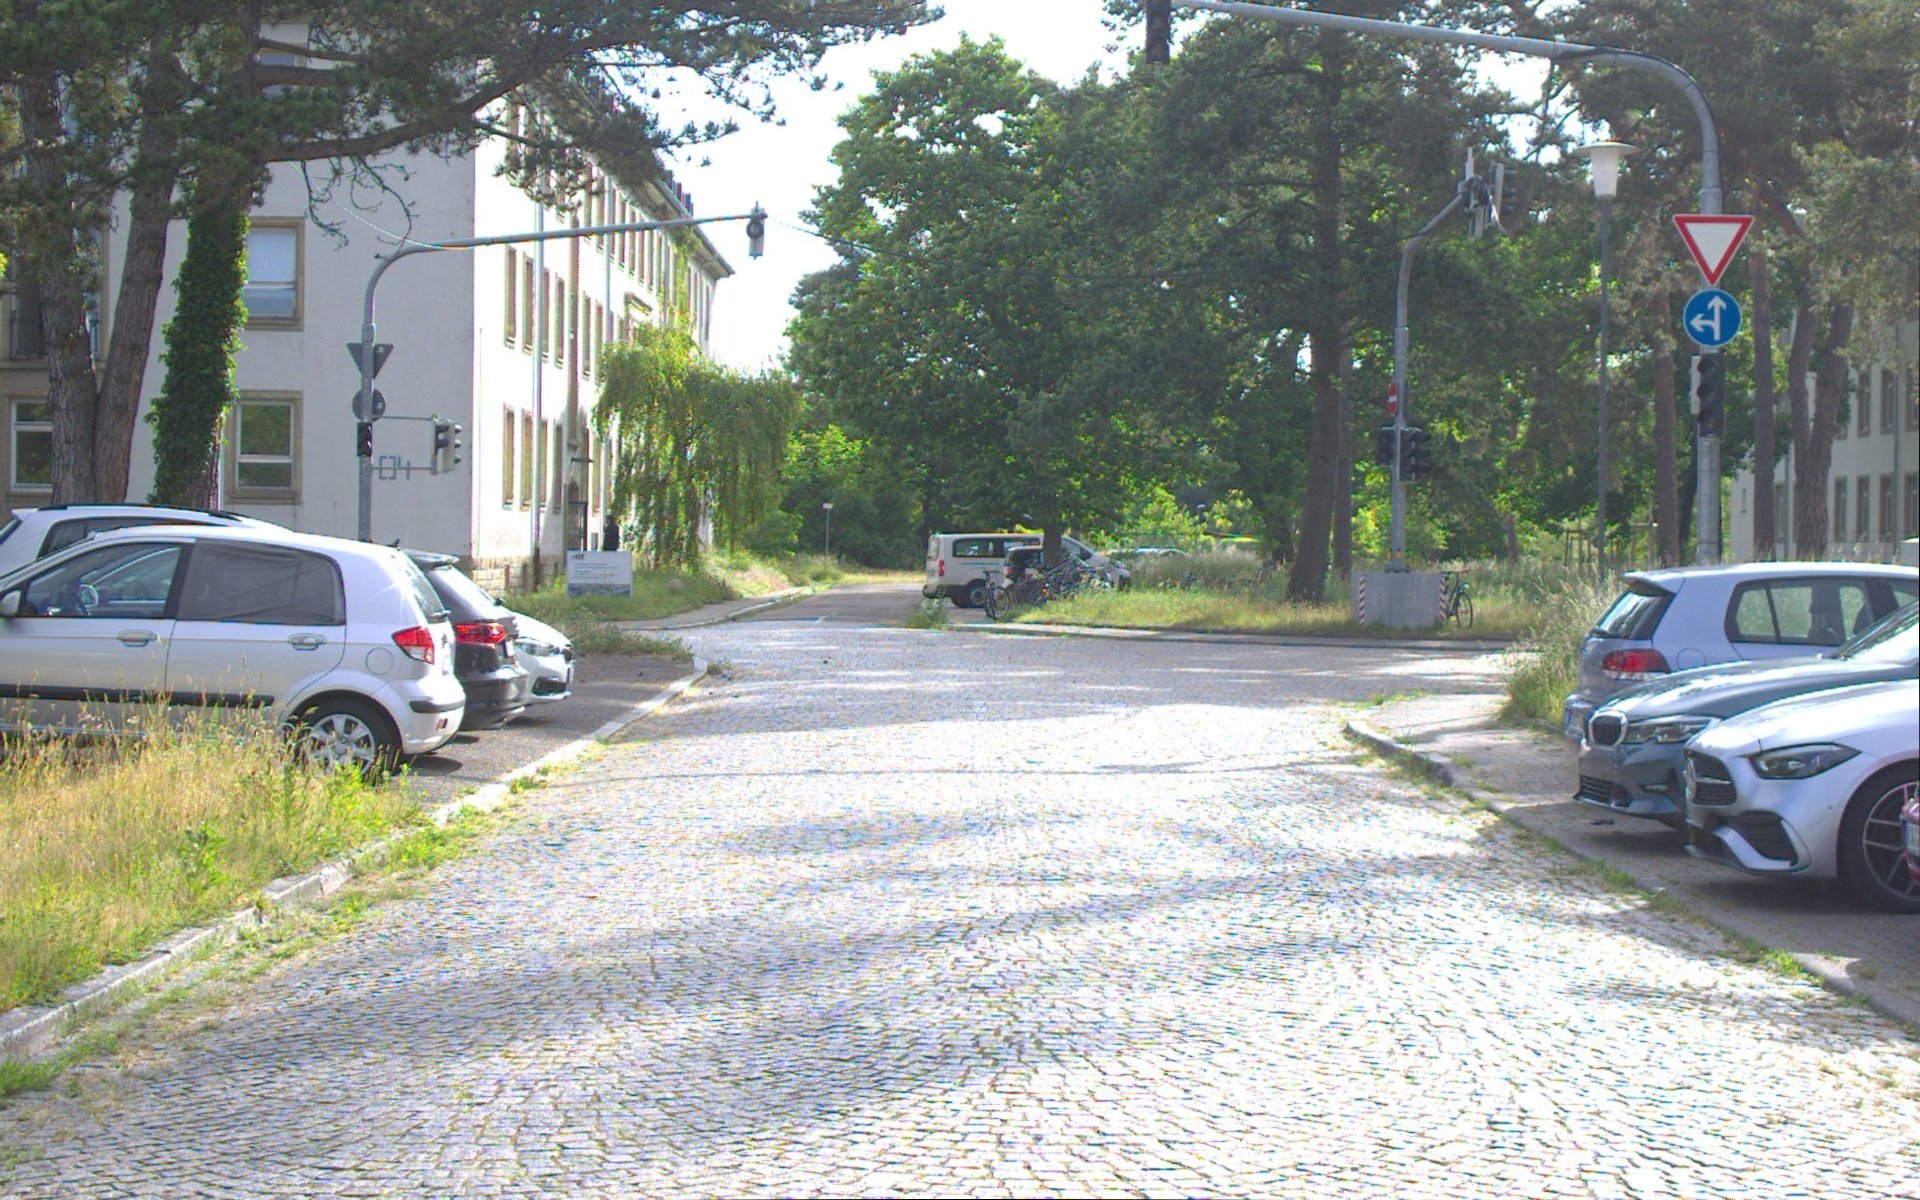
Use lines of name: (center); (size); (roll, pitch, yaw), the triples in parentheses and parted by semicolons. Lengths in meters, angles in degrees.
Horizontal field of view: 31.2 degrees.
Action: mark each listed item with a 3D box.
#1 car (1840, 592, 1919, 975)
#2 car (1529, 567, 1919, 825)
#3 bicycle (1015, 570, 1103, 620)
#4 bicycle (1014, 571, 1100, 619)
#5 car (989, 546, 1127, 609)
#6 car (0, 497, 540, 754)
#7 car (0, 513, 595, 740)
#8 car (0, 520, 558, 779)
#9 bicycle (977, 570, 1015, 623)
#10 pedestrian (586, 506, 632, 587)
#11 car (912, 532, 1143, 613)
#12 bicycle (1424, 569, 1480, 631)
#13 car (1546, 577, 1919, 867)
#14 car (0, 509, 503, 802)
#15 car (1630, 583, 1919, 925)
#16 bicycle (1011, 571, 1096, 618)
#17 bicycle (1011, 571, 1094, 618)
car: (5.865, 0.728, 13.515); (4.340, 1.468, 1.740); (1, 0, 0)
car: (5.963, 0.574, 21.189); (4.543, 1.500, 1.933); (1, 0, -2)
bicycle: (2.074, -0.105, 72.289); (1.793, 0.995, 0.644); (1, 2, -1)
bicycle: (2.069, -0.109, 73.310); (1.793, 0.995, 0.644); (1, 2, -1)
car: (2.394, -0.540, 84.655); (3.031, 1.460, 1.720); (1, 0, -12)
car: (-5.304, 0.170, 25.697); (4.120, 1.594, 1.859); (4, 0, -4)
car: (-5.404, 0.190, 28.240); (4.587, 1.450, 1.904); (4, 2, -2)
car: (-4.746, 0.298, 23.002); (3.828, 1.424, 1.859); (4, 0, -1)
bicycle: (0.717, -0.085, 68.705); (0.728, 0.995, 1.799); (1, 2, 0)
pedestrian: (-8.644, -1.308, 84.678); (0.985, 1.956, 0.933); (1, 0, -1)
car: (1.713, -0.702, 88.223); (5.499, 1.909, 2.255); (1, 0, -14)
bicycle: (8.303, -0.007, 58.088); (0.562, 0.995, 1.752); (1, 2, -4)
car: (5.620, 0.632, 18.565); (4.506, 1.468, 1.895); (1, 0, -4)
car: (-4.696, 0.273, 20.346); (3.683, 1.468, 1.850); (4, 0, -2)
car: (5.519, 0.680, 15.787); (4.506, 1.468, 1.849); (1, 0, 0)
bicycle: (2.027, -0.119, 74.811); (1.793, 0.995, 0.644); (1, 2, -1)
bicycle: (2.031, -0.123, 75.550); (1.793, 0.995, 0.644); (1, 2, -1)
